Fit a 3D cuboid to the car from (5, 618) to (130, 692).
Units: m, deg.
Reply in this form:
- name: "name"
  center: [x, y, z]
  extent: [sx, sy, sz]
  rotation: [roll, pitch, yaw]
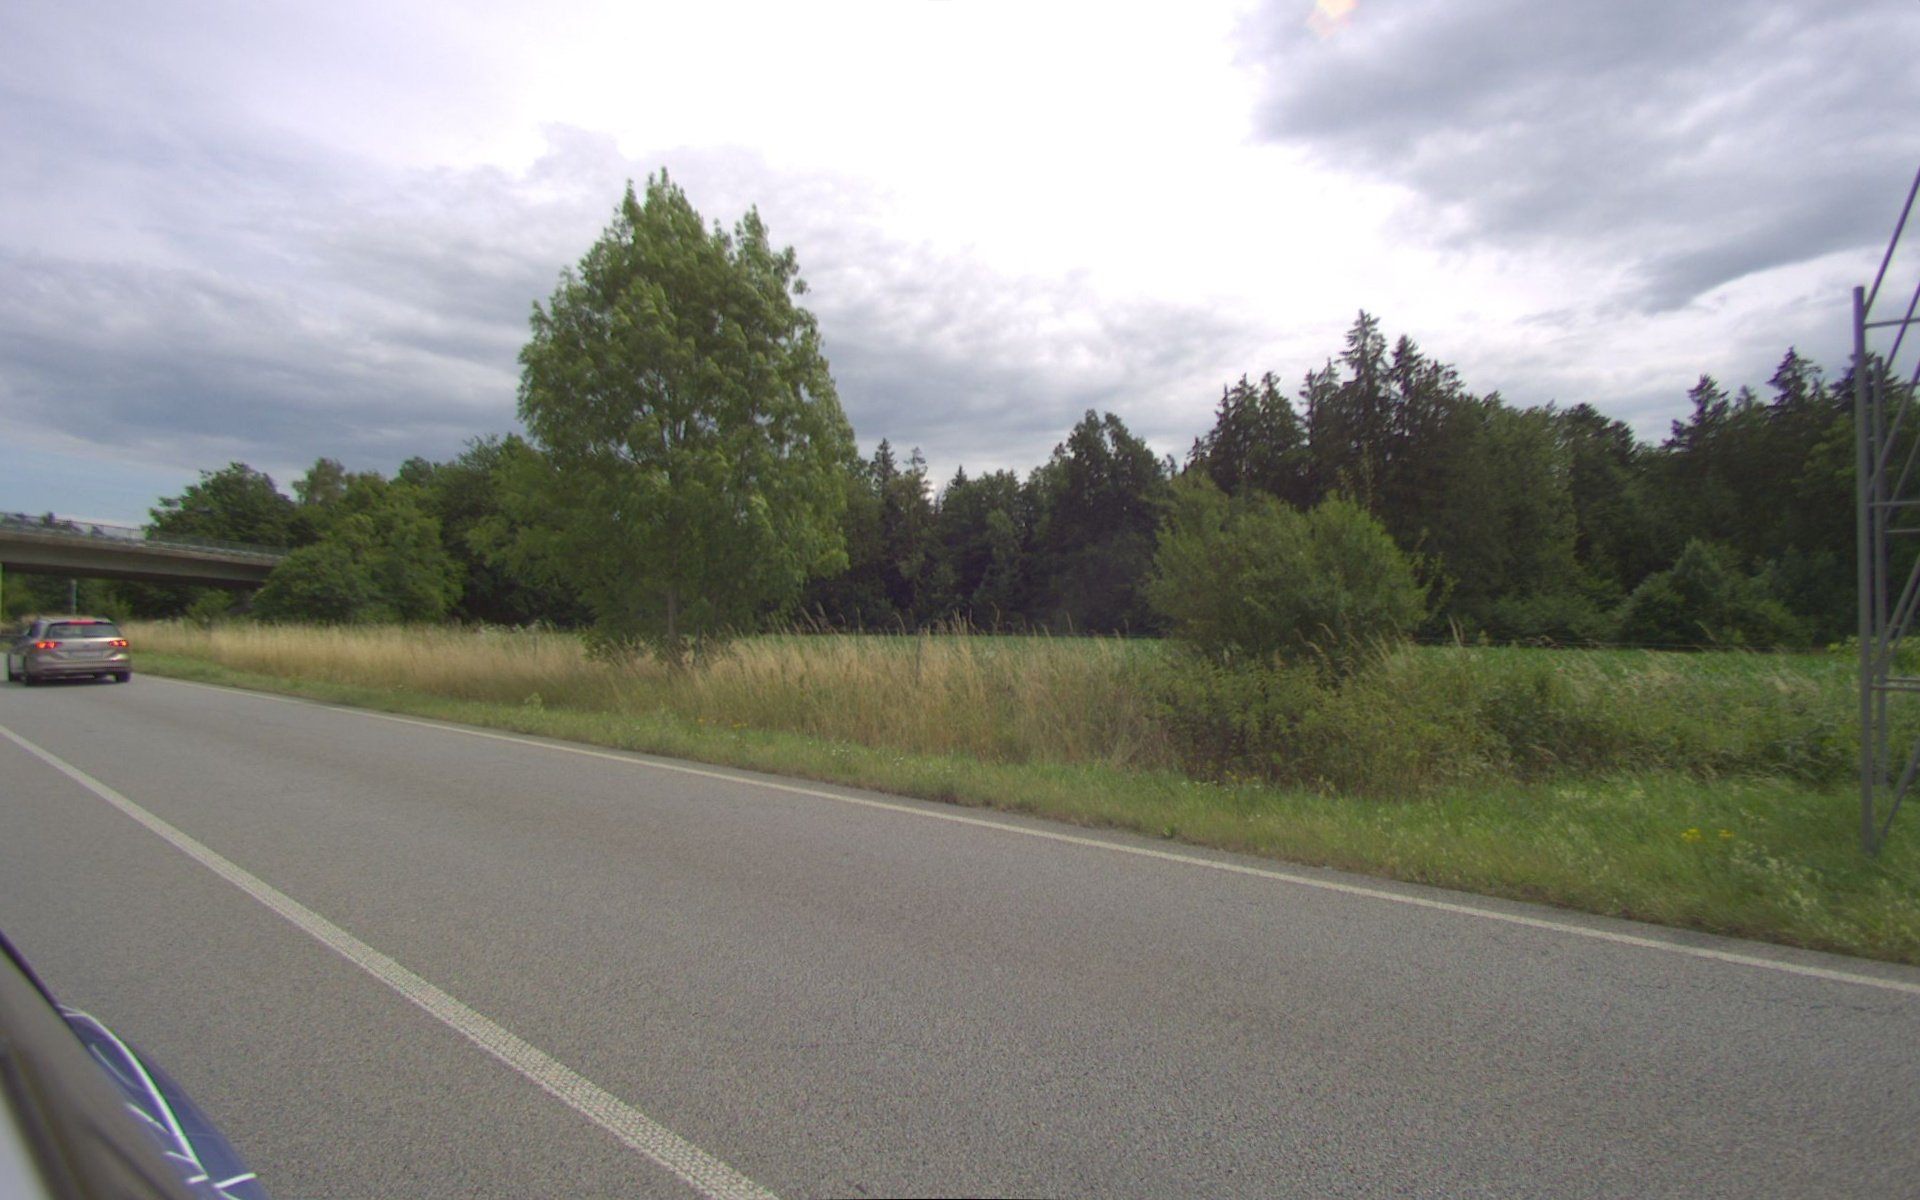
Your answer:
- name: "car"
  center: [-20.159, 1.171, 22.814]
  extent: [4.000, 1.475, 1.747]
  rotation: [-1, 0, 43]
